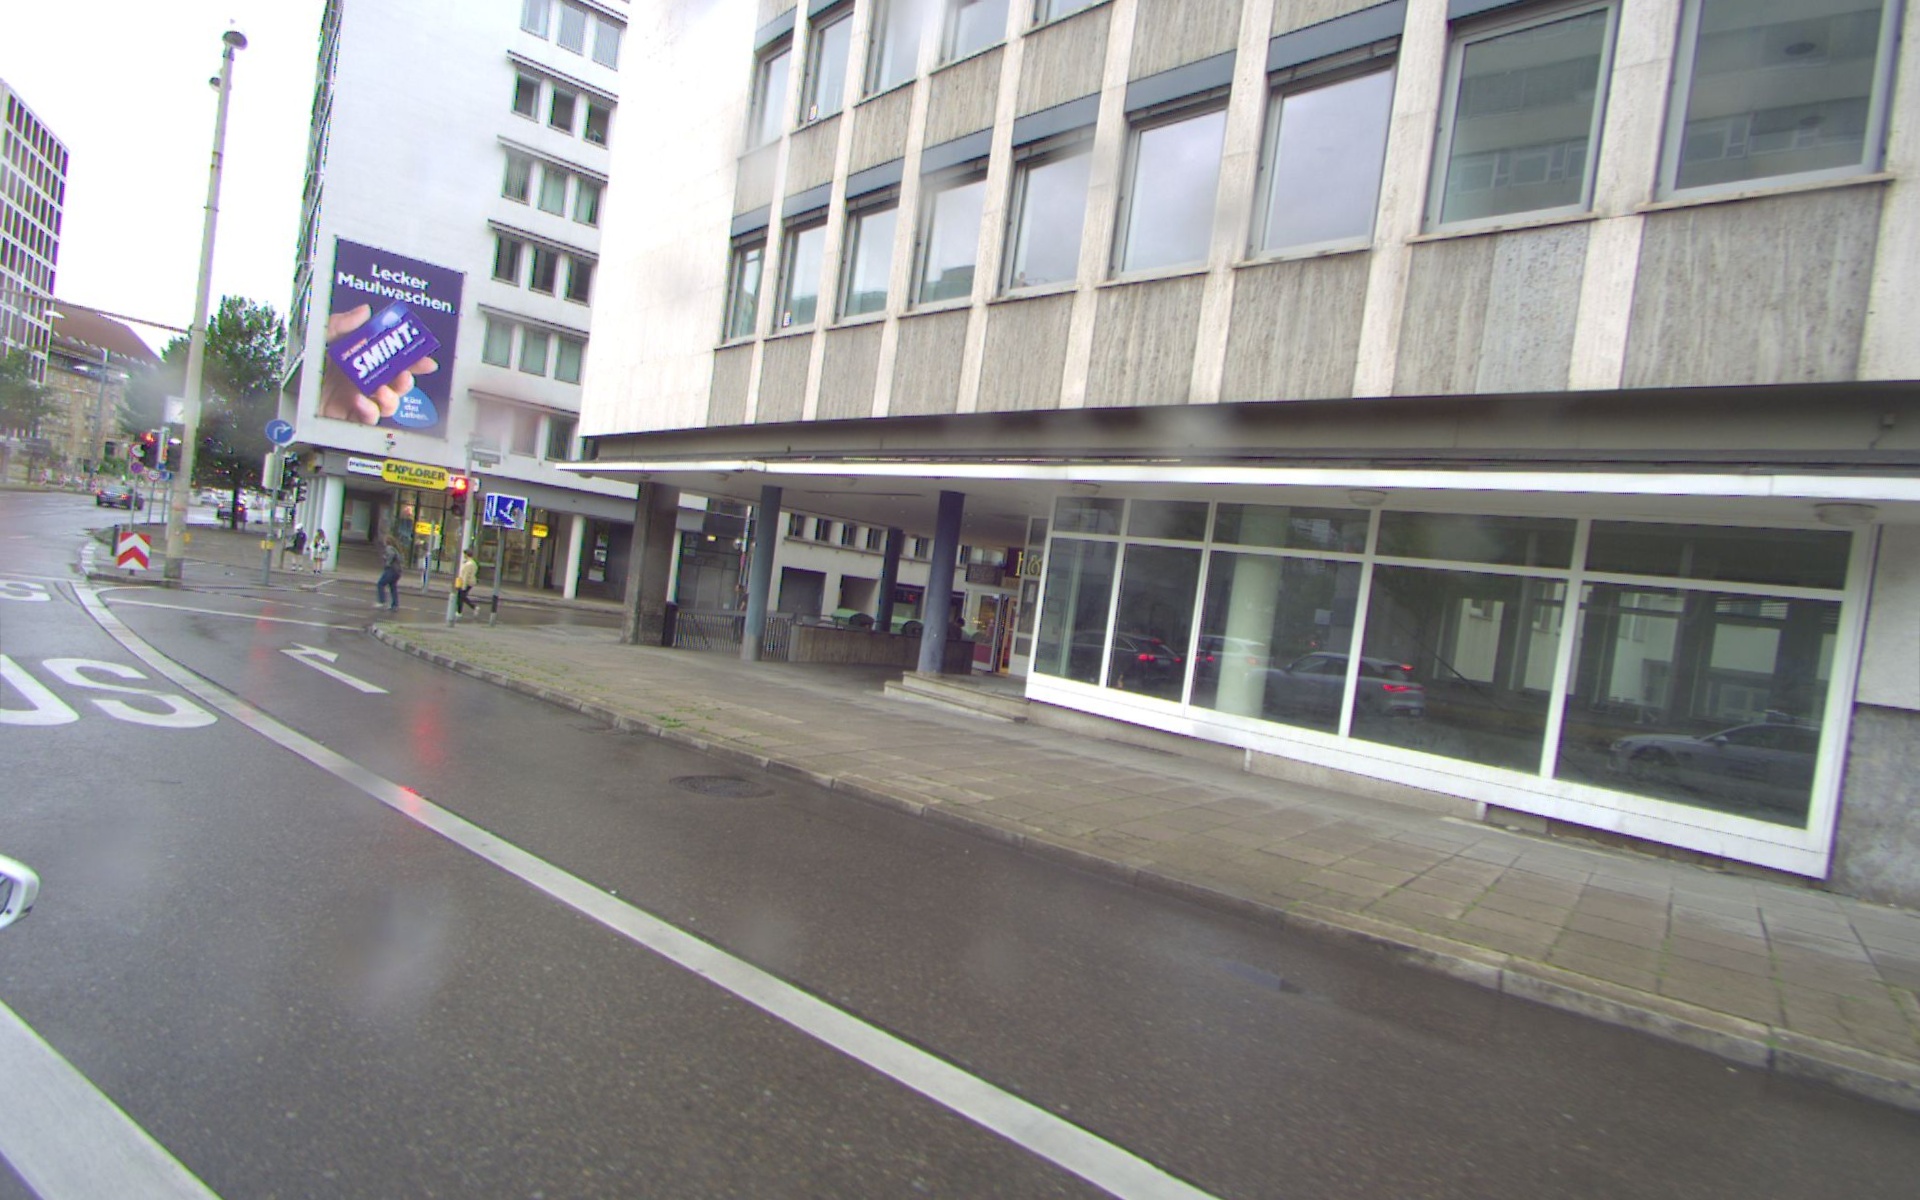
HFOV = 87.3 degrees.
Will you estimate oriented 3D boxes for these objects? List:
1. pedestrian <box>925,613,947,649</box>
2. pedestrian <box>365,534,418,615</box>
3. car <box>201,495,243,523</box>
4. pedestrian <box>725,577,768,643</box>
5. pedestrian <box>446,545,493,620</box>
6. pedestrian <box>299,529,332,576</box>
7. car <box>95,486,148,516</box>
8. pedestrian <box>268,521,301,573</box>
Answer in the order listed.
[{"bbox_3d":[-1.298,1.625,53.307,0.677,1.820,0.722,7,0,-37],"label":"pedestrian"},{"bbox_3d":[-13.814,-0.621,24.426,0.810,1.820,0.702,7,1,-42],"label":"pedestrian"},{"bbox_3d":[-59.881,-7.327,81.717,2.032,1.786,4.324,9,-1,-29],"label":"car"},{"bbox_3d":[-6.309,0.293,29.670,1.002,1.776,0.793,7,-1,-14],"label":"pedestrian"},{"bbox_3d":[-12.680,-0.452,25.993,0.725,1.820,0.730,7,1,-42],"label":"pedestrian"},{"bbox_3d":[-22.809,-1.671,35.589,0.725,1.542,0.751,7,0,-42],"label":"pedestrian"},{"bbox_3d":[-56.071,-6.583,67.358,1.897,1.527,4.321,9,-2,-31],"label":"car"},{"bbox_3d":[-23.700,-1.864,35.307,0.725,1.688,0.682,7,0,-42],"label":"pedestrian"}]
